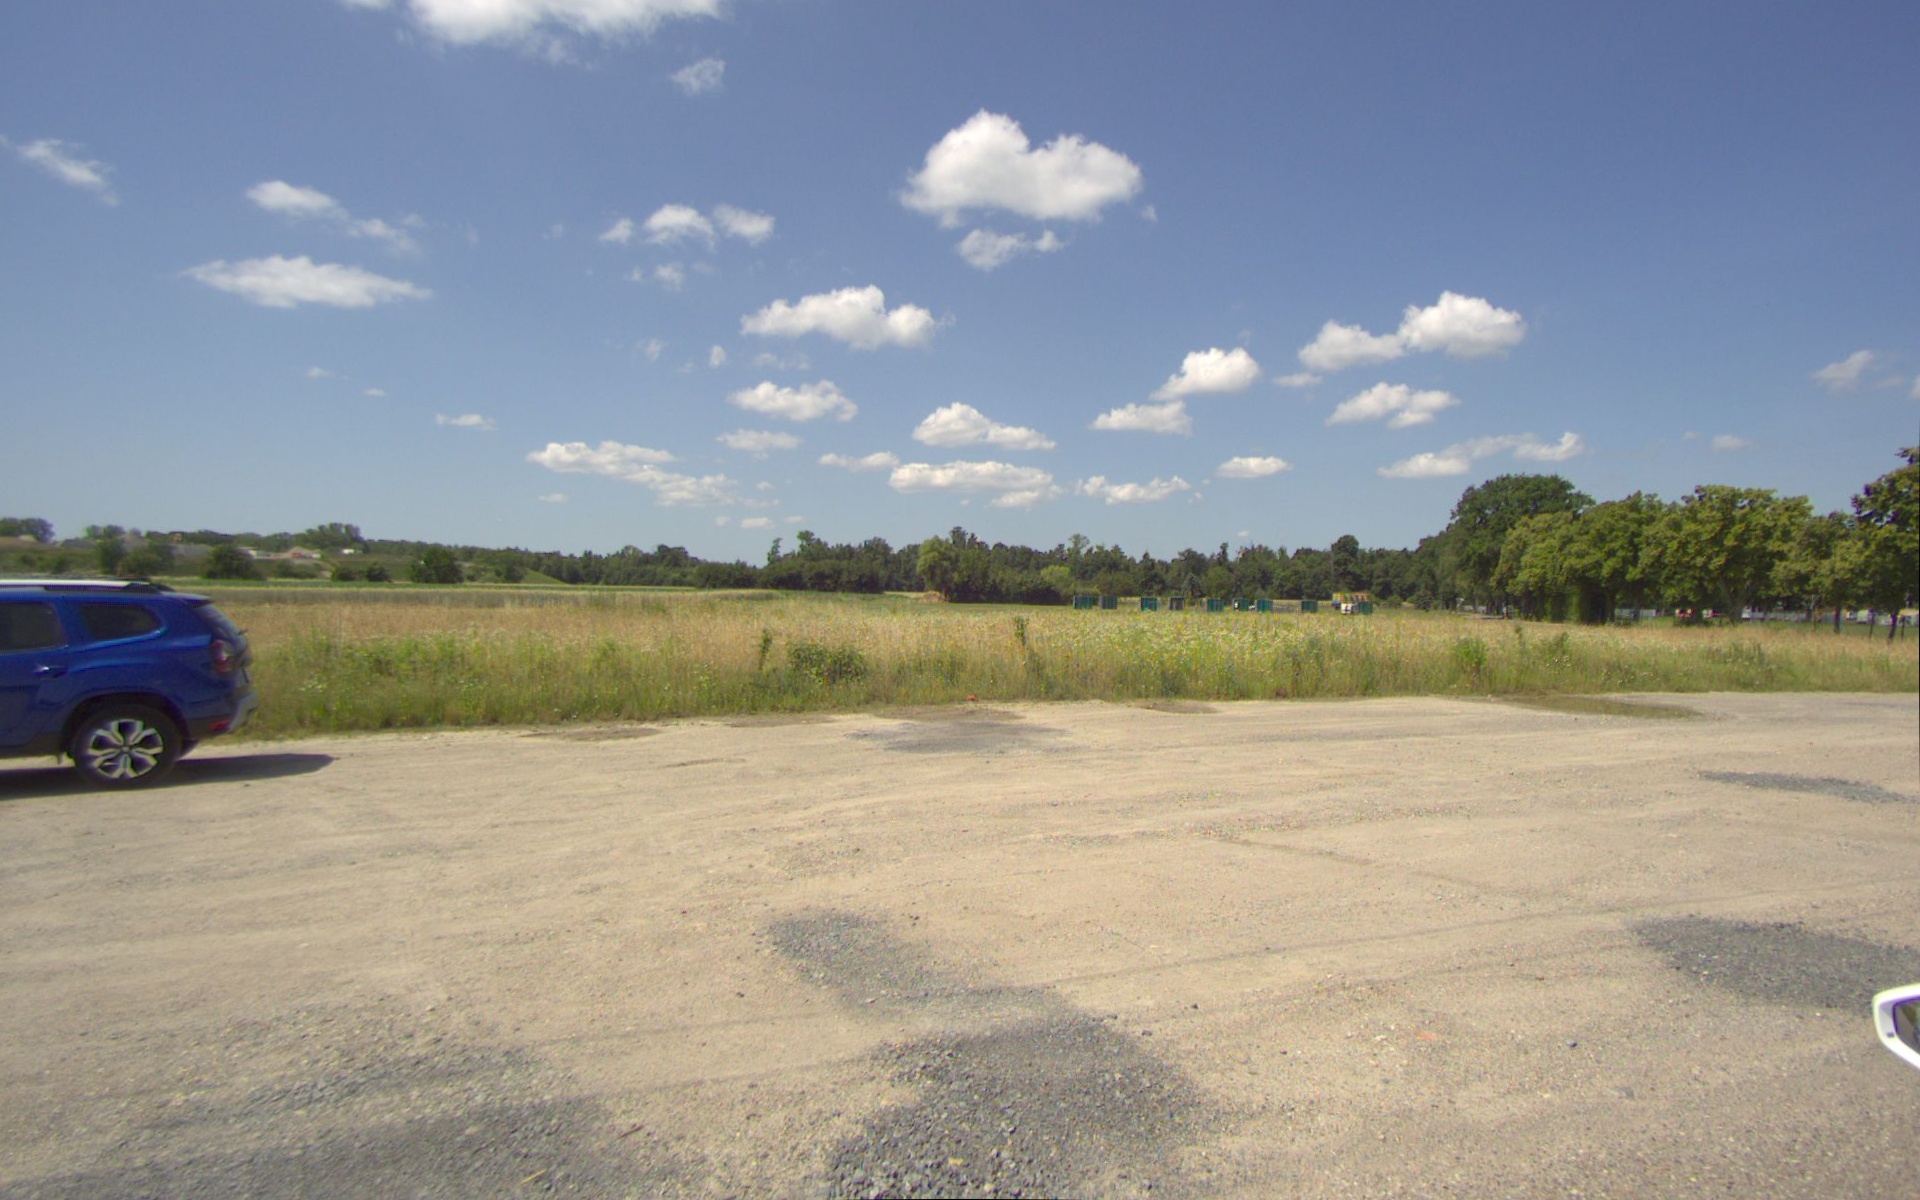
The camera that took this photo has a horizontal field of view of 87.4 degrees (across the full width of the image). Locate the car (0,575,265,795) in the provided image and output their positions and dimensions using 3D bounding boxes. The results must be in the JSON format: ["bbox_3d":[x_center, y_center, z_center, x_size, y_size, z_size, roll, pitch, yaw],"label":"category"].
[{"bbox_3d":[-8.393,0.653,8.149,4.408,1.683,1.848,0,0,-32],"label":"car"}]
